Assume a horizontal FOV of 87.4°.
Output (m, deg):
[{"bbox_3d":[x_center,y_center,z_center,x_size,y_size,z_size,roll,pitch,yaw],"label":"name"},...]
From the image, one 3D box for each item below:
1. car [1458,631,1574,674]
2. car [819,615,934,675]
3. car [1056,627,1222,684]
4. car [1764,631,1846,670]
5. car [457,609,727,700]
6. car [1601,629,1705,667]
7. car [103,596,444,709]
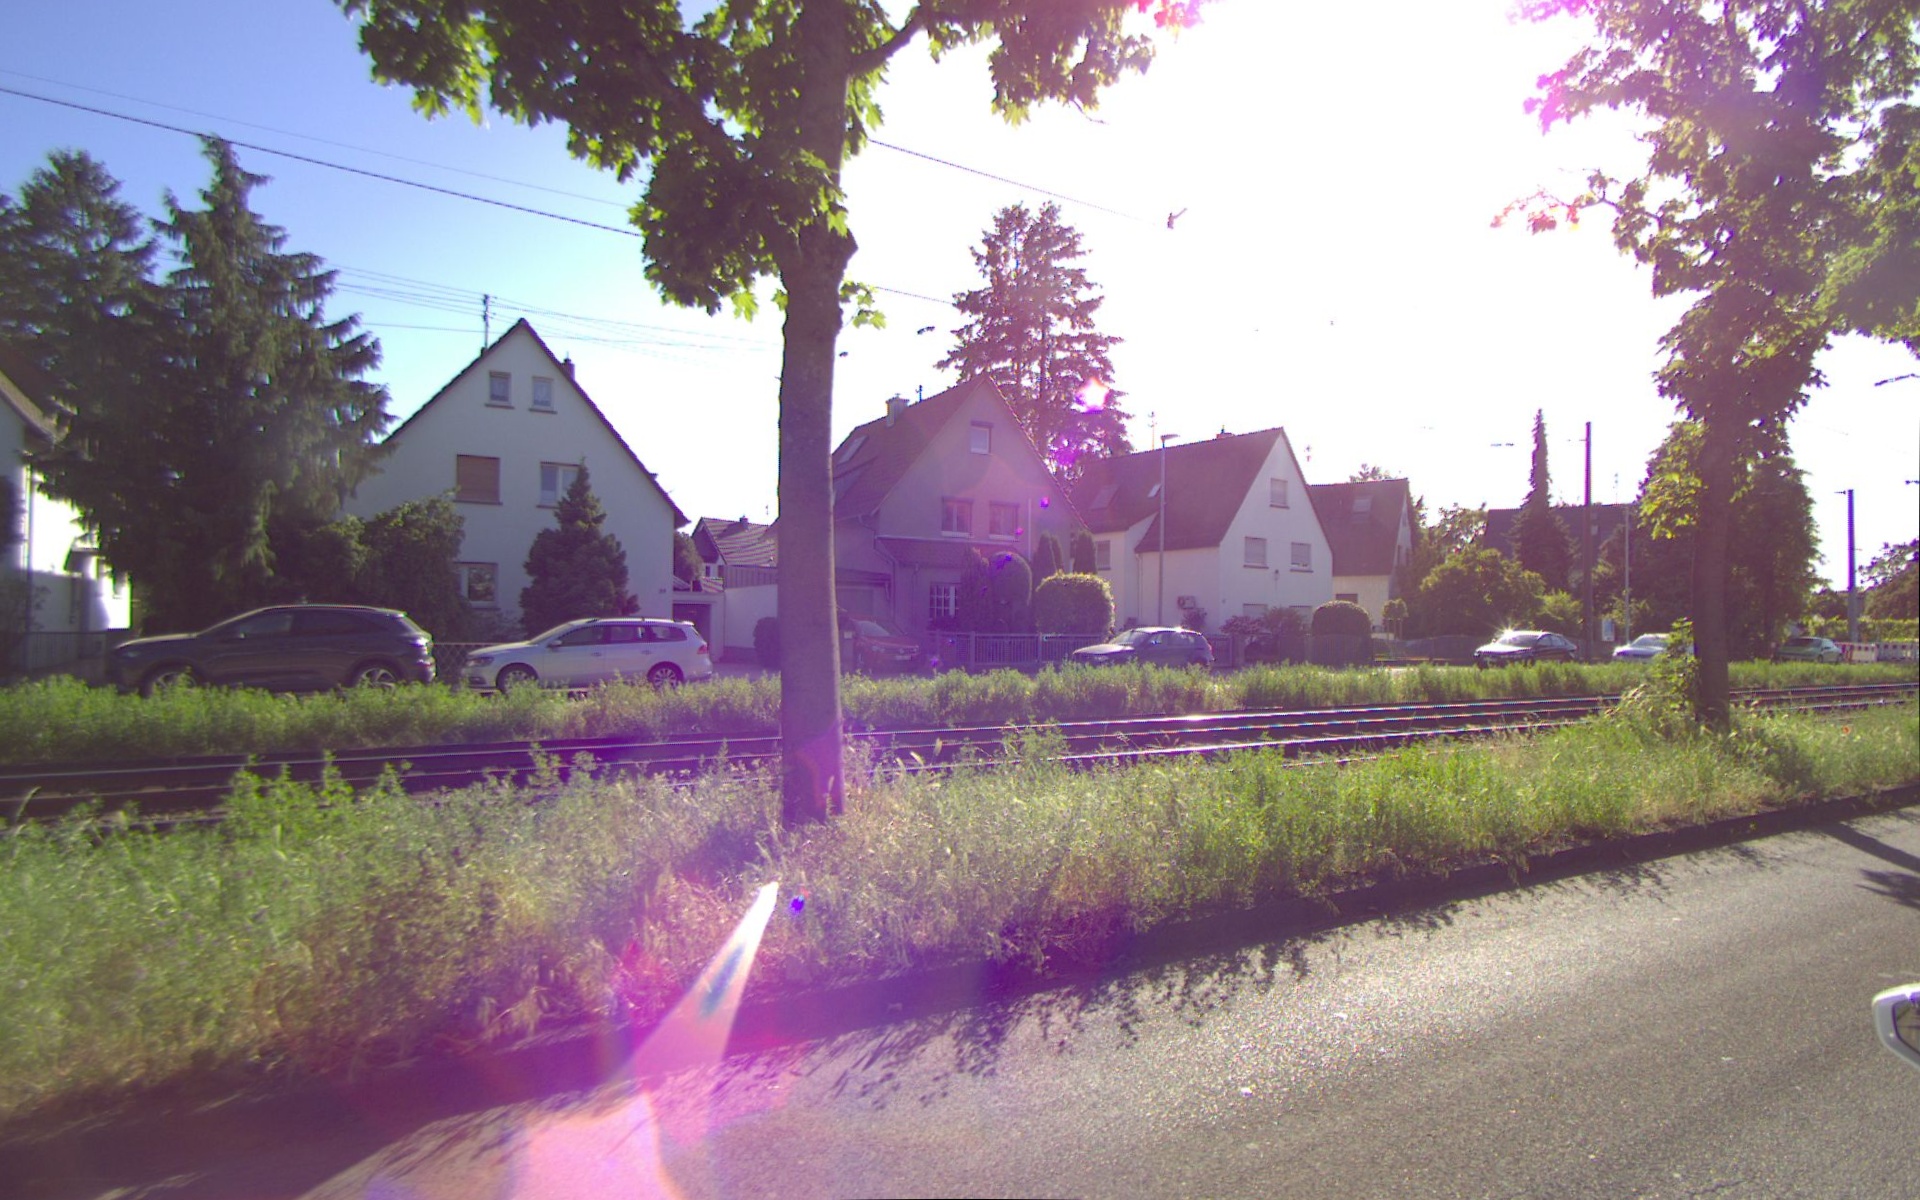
[{"bbox_3d":[20.107,1.886,36.286,4.111,1.432,1.850,2,0,-31],"label":"car"},{"bbox_3d":[-2.484,1.232,28.976,1.866,1.472,3.899,0,1,-30],"label":"car"},{"bbox_3d":[4.826,1.475,27.028,4.177,1.388,1.851,2,0,-30],"label":"car"},{"bbox_3d":[41.288,2.460,49.069,4.179,1.730,1.769,2,0,-31],"label":"car"},{"bbox_3d":[-7.228,1.043,19.849,4.724,1.566,1.984,2,0,-30],"label":"car"},{"bbox_3d":[28.503,1.973,41.309,4.411,1.450,1.850,2,0,-31],"label":"car"},{"bbox_3d":[-11.315,0.851,16.960,4.503,1.672,1.739,2,0,-31],"label":"car"}]
